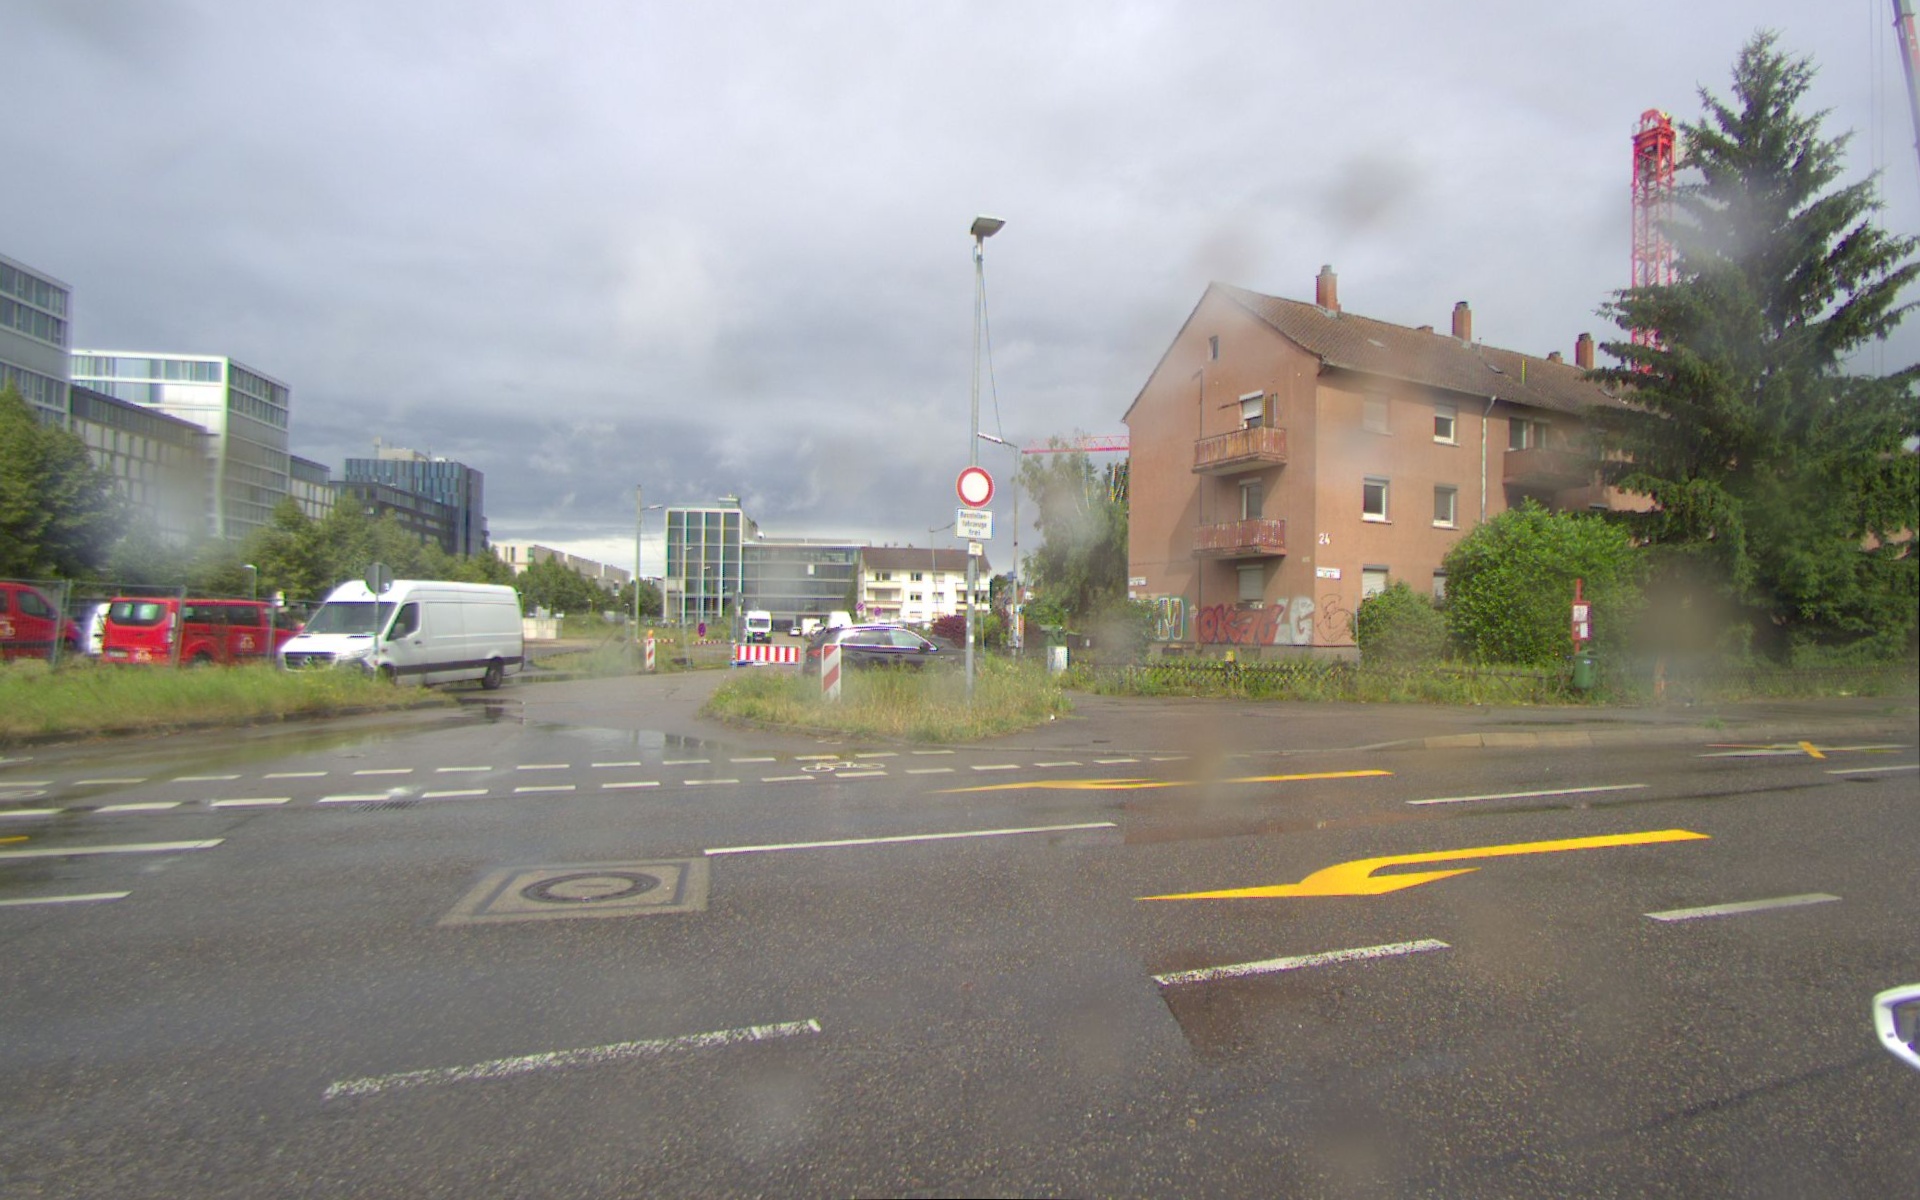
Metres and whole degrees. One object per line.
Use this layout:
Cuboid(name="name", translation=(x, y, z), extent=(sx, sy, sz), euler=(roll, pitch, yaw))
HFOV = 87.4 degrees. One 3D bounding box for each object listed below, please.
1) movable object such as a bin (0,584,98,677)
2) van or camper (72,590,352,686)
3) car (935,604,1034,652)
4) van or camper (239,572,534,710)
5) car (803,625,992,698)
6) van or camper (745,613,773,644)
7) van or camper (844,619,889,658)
Cuboid(name="movable object such as a bin", translation=(-26.194, 0.768, 25.498), extent=(2.622, 2.418, 6.617), euler=(1, -1, 3))
Cuboid(name="van or camper", translation=(-19.589, 0.978, 26.901), extent=(2.391, 2.217, 6.402), euler=(1, -1, 4))
Cuboid(name="car", translation=(1.048, 1.221, 43.774), extent=(4.237, 2.045, 1.716), euler=(0, -1, -1))
Cuboid(name="van or camper", translation=(-12.793, 0.889, 23.286), extent=(2.461, 2.682, 6.986), euler=(1, -1, 4))
Cuboid(name="car", translation=(-1.523, 1.445, 24.092), extent=(4.257, 1.639, 1.754), euler=(1, -1, -17))
Cuboid(name="van or camper", translation=(-16.016, 2.241, 79.752), extent=(1.966, 2.341, 4.872), euler=(1, -1, -14))
Cuboid(name="van or camper", translation=(-5.861, 2.346, 62.239), extent=(1.966, 2.304, 5.903), euler=(1, -1, -13))
